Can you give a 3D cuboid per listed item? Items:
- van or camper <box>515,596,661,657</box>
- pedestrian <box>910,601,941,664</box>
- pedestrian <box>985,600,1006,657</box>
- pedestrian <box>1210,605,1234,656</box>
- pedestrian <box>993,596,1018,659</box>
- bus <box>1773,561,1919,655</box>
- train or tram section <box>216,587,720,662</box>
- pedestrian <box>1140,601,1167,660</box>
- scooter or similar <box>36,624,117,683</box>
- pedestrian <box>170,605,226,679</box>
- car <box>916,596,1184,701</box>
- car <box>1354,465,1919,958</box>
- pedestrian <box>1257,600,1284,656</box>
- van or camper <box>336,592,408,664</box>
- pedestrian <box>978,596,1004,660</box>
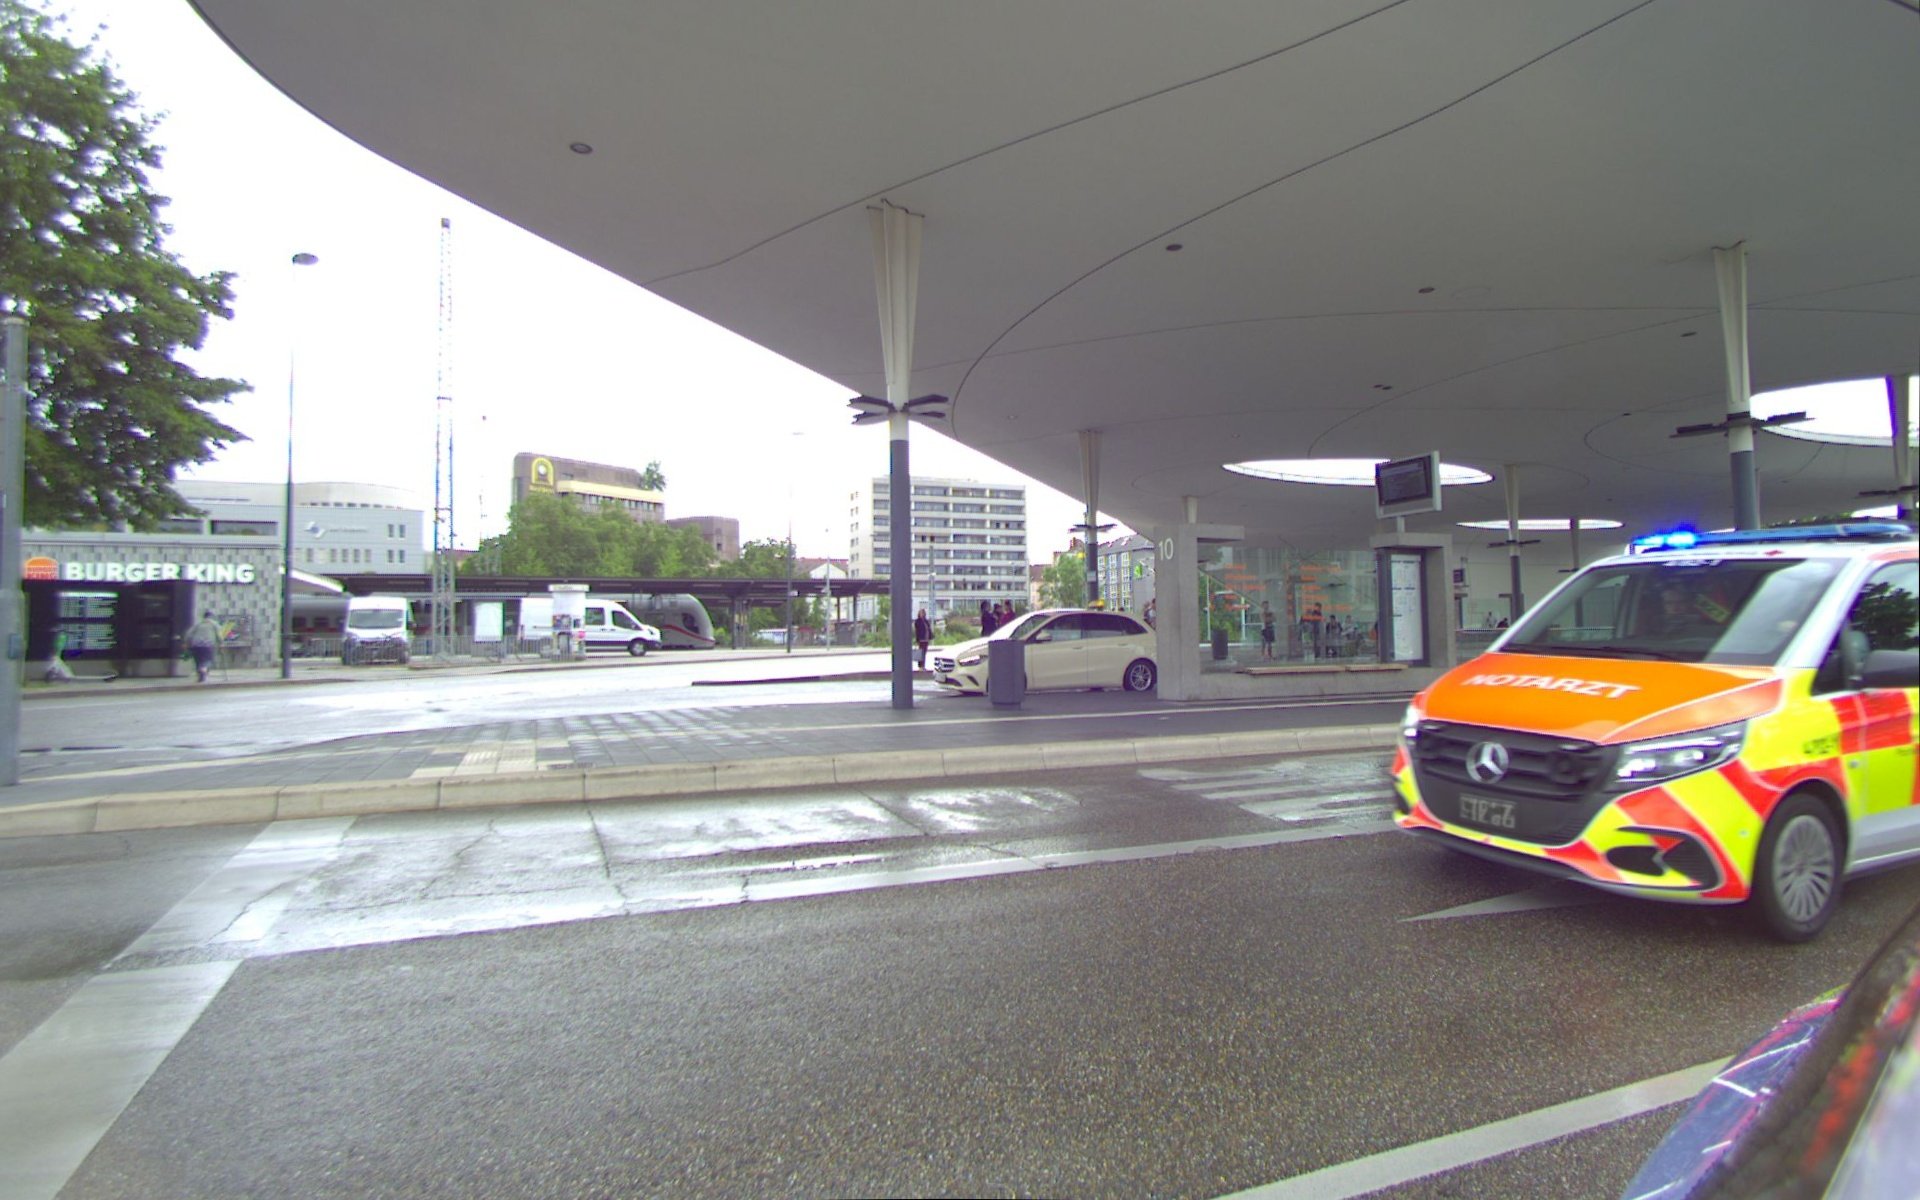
[{"bbox_3d":[-15.832,1.075,43.171,5.741,2.464,2.004,0,0,-22],"label":"van or camper"},{"bbox_3d":[-0.905,0.832,26.233,0.726,1.615,0.643,0,0,-8],"label":"pedestrian"},{"bbox_3d":[0.969,0.762,27.274,0.472,1.533,0.533,0,-1,12],"label":"pedestrian"},{"bbox_3d":[7.941,0.931,30.709,0.514,1.533,0.480,0,-1,-19],"label":"pedestrian"},{"bbox_3d":[1.133,0.679,25.290,0.469,1.533,0.536,0,-1,-18],"label":"pedestrian"},{"bbox_3d":[34.995,0.221,37.013,11.672,3.121,2.884,0,0,-22],"label":"bus"},{"bbox_3d":[-30.627,1.328,66.111,28.695,4.235,4.614,0,0,-22],"label":"train or tram section"},{"bbox_3d":[5.131,0.803,26.806,0.524,1.533,0.480,0,-1,-19],"label":"pedestrian"},{"bbox_3d":[-19.191,1.151,21.997,0.331,1.197,1.288,0,0,34],"label":"scooter or similar"},{"bbox_3d":[-16.363,0.884,21.731,0.634,1.549,0.829,0,0,38],"label":"pedestrian"},{"bbox_3d":[1.623,0.785,18.458,4.447,1.702,2.004,0,0,-22],"label":"car"},{"bbox_3d":[5.021,0.436,6.068,4.956,2.039,2.004,0,0,-23],"label":"car"},{"bbox_3d":[8.686,0.775,28.316,0.524,1.533,0.480,0,-1,-19],"label":"pedestrian"},{"bbox_3d":[-21.953,0.955,37.964,2.122,2.464,5.871,0,0,-28],"label":"van or camper"},{"bbox_3d":[0.741,0.684,24.577,0.469,1.533,0.536,0,-1,-18],"label":"pedestrian"}]
